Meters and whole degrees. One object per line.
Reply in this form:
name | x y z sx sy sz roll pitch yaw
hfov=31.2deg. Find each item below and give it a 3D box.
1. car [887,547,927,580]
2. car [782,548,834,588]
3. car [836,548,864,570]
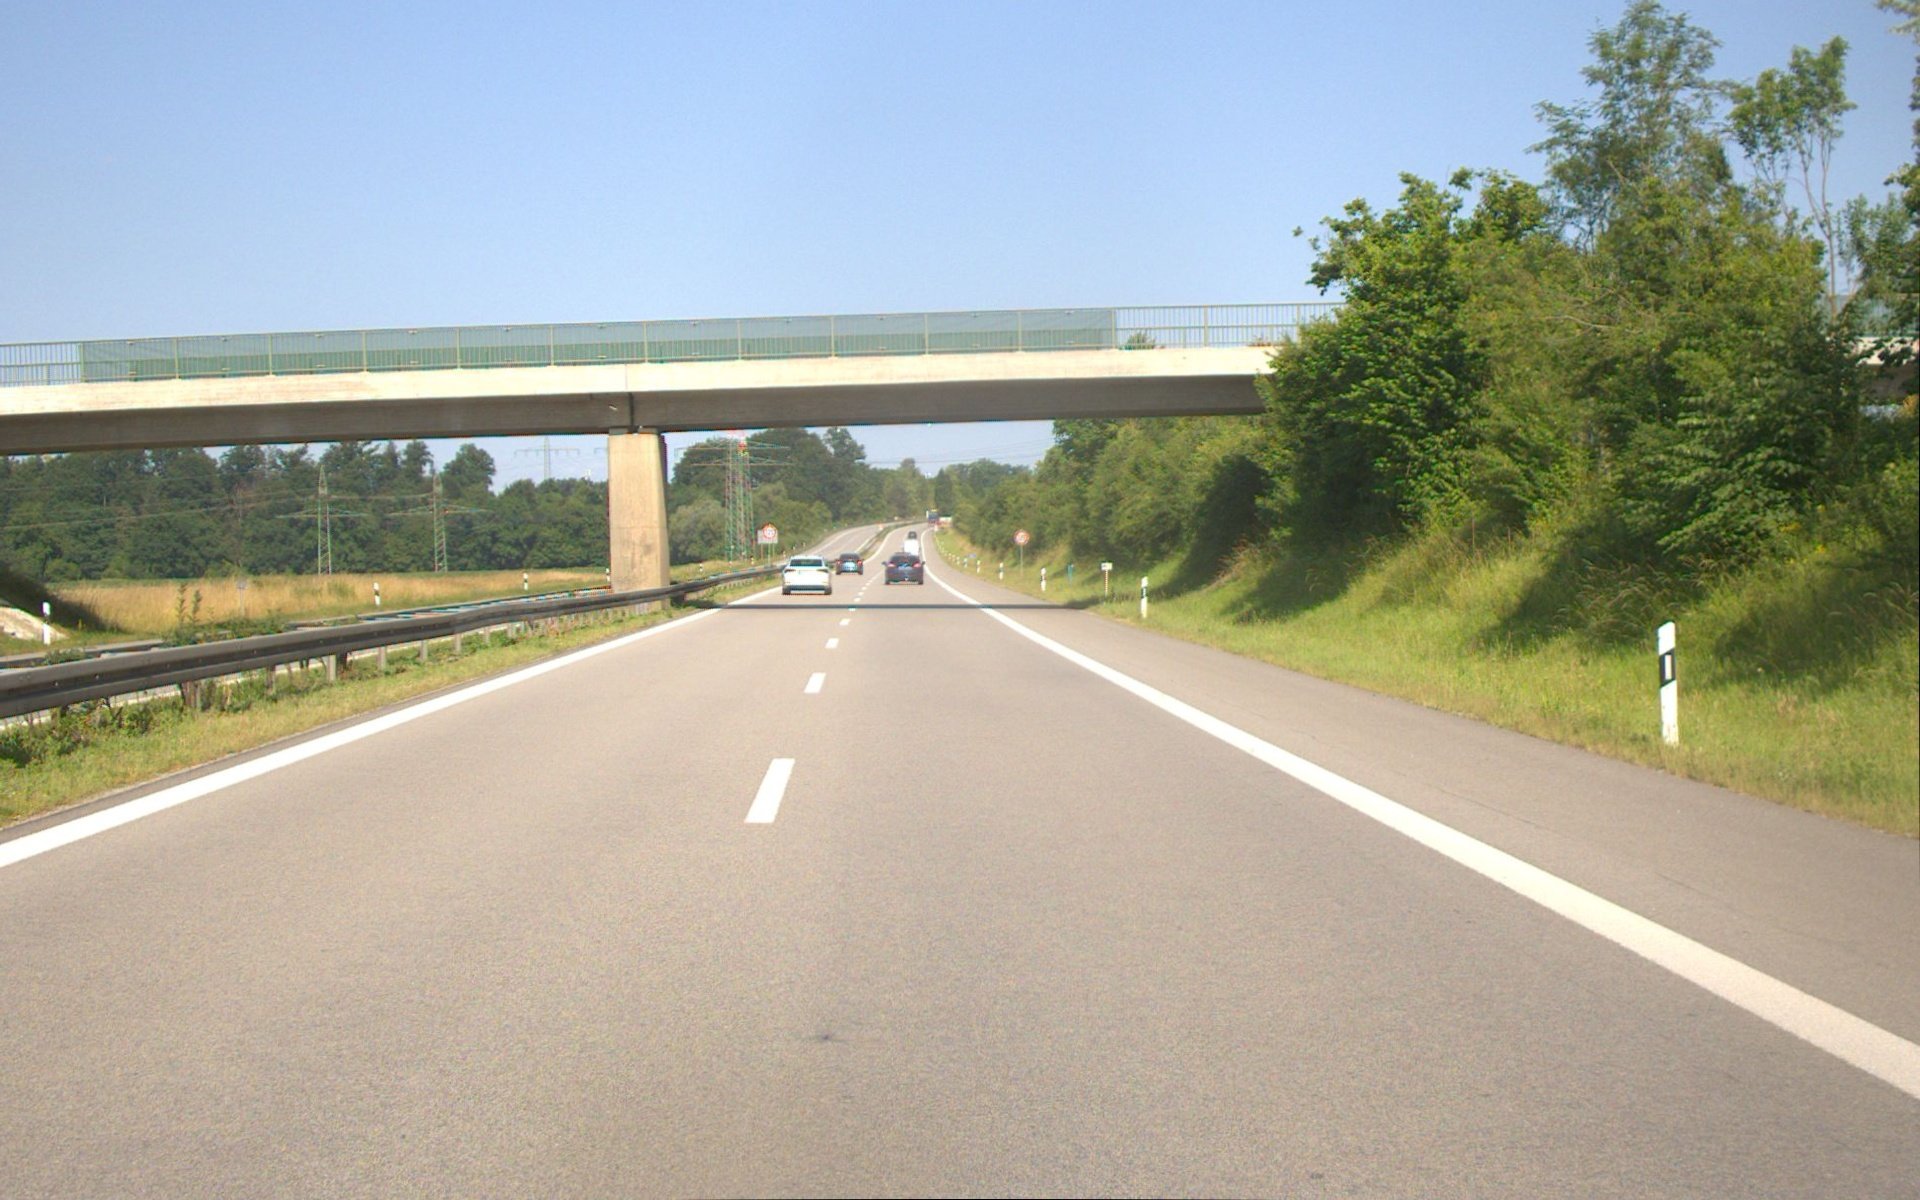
car | -2.556 -1.738 164.555 1.843 1.515 4.000 1 1 -2
car | -5.568 -1.178 126.453 1.843 1.411 4.000 1 1 -2
car | -7.468 -2.789 233.718 1.843 1.431 4.000 1 1 -2
